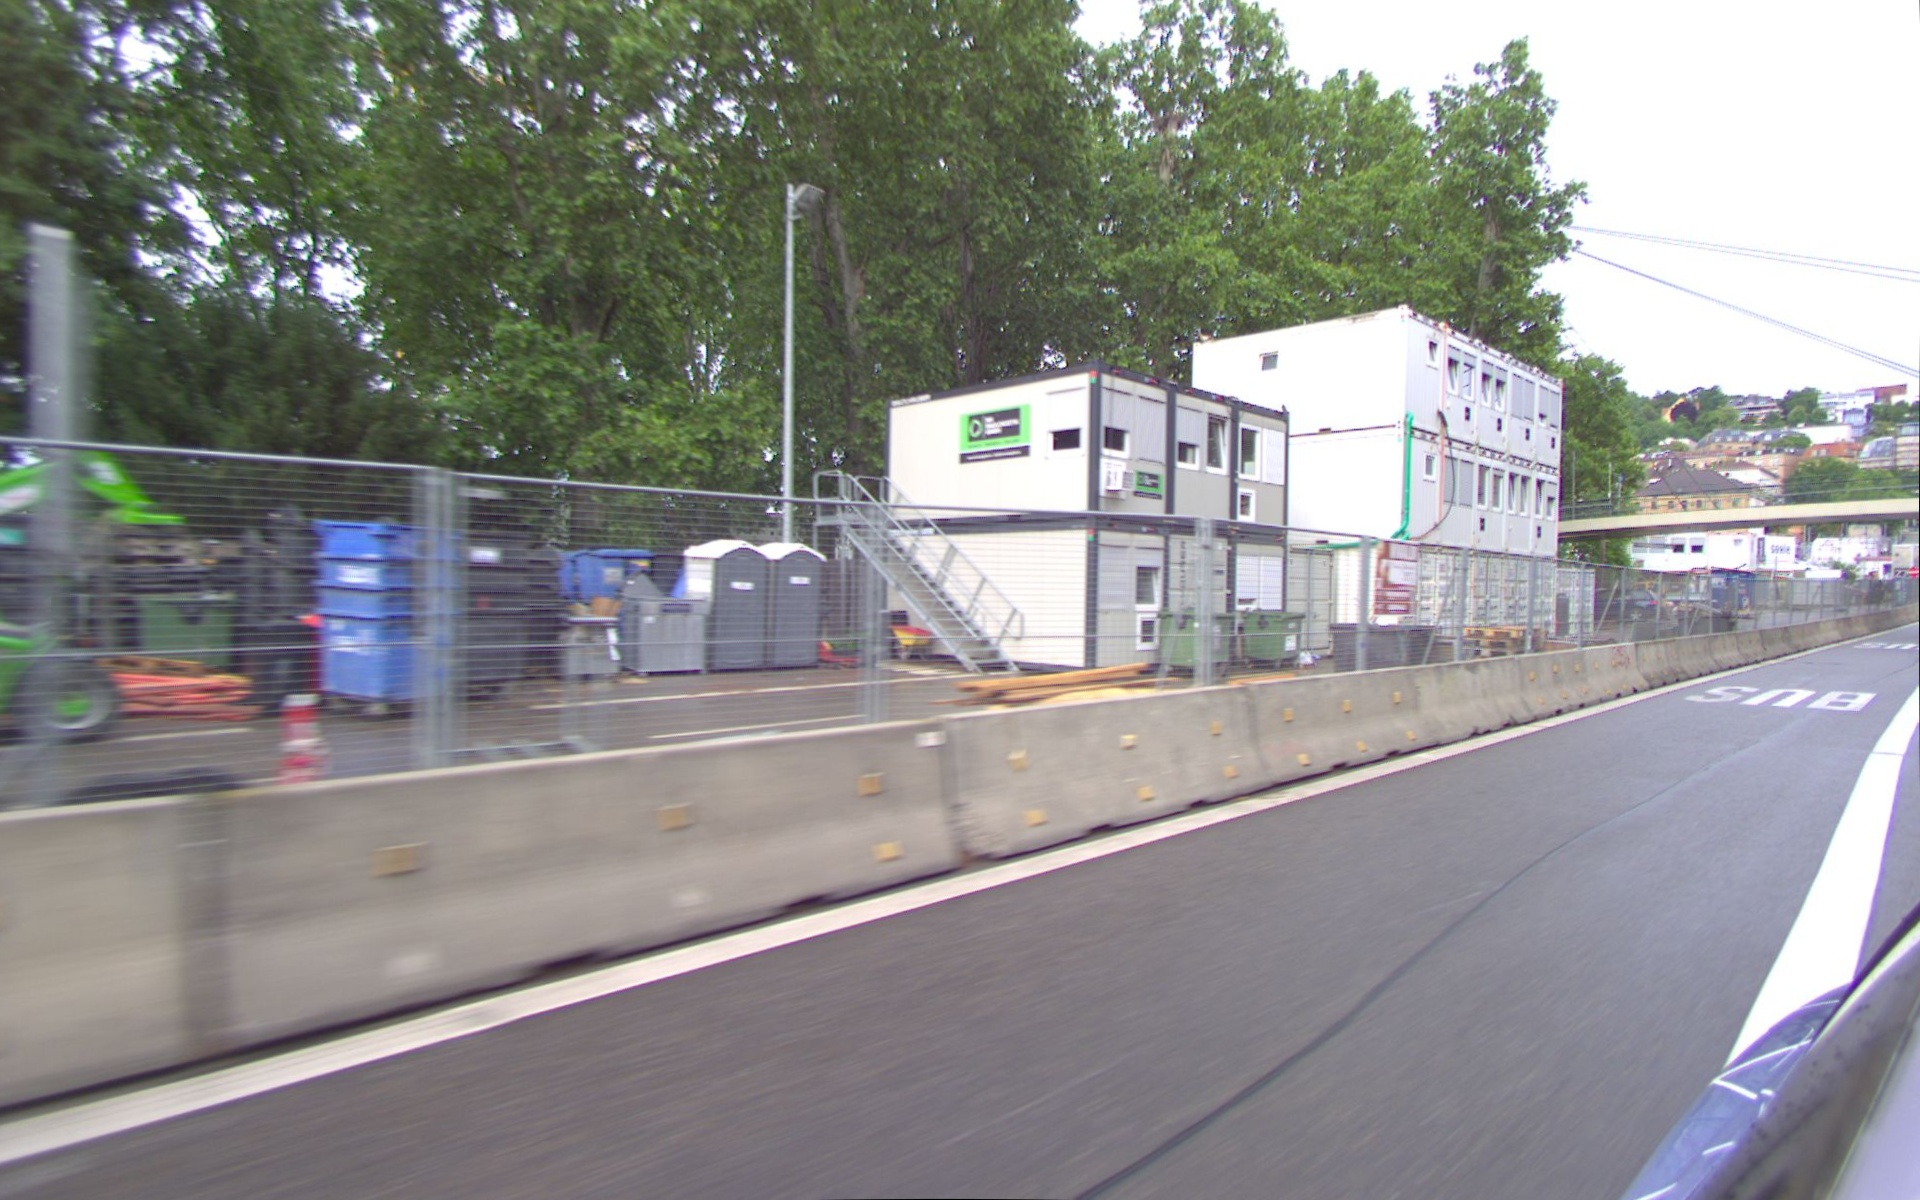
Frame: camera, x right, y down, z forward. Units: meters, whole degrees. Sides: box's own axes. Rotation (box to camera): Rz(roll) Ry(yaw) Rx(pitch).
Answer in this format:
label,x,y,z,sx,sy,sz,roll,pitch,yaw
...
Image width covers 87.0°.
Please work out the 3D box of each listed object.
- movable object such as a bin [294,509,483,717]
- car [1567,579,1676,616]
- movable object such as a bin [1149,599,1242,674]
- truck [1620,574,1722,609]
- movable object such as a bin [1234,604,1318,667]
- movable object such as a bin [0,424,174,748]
label,x,y,z,sx,sy,sz,roll,pitch,yaw
movable object such as a bin,-6.580,0.124,11.692,1.445,2.231,1.254,1,0,24
car,34.311,-0.166,52.556,4.498,1.749,1.969,2,2,43
movable object such as a bin,4.512,0.674,19.413,1.219,1.251,1.248,-3,5,-43
truck,45.881,-0.564,65.369,5.151,2.038,2.374,2,4,42
movable object such as a bin,6.731,0.731,21.574,1.219,1.136,1.248,-3,5,-43
movable object such as a bin,-9.586,-0.152,8.993,1.806,2.845,3.807,1,0,42
